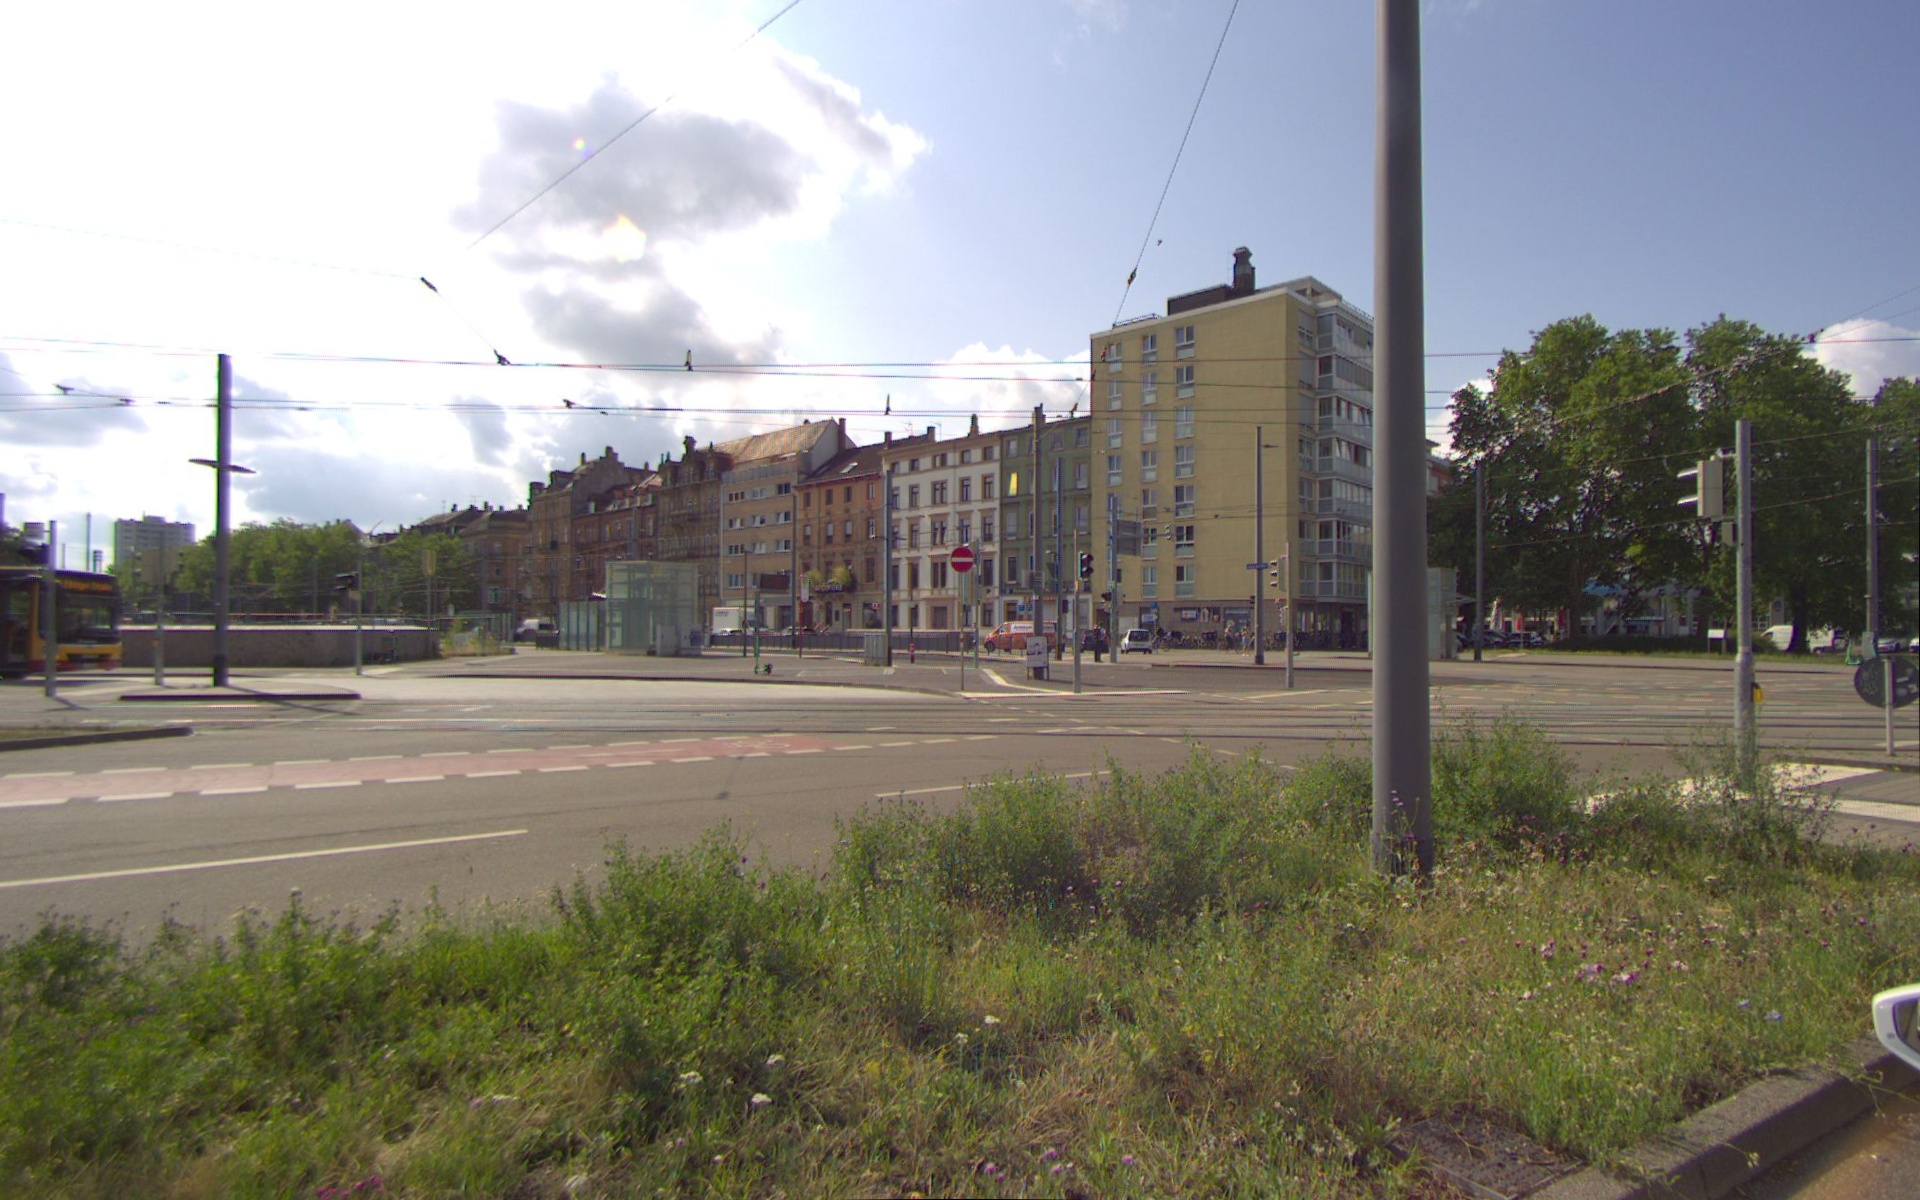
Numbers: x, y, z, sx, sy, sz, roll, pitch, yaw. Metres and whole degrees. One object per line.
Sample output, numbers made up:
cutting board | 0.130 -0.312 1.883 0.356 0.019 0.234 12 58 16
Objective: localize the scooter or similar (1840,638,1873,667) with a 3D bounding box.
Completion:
scooter or similar | 39.455 2.298 44.208 0.911 1.173 0.381 4 4 16

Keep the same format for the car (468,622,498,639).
car | -53.332 3.392 112.373 3.946 1.684 1.765 1 0 45

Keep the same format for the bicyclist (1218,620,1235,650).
bicyclist | 16.282 2.138 61.384 0.816 1.768 0.708 -1 -2 43

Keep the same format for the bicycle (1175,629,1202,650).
bicycle | 15.351 2.642 67.624 1.623 1.217 0.546 6 0 45

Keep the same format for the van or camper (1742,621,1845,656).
van or camper | 65.972 3.047 79.637 2.361 2.502 5.858 2 0 -25

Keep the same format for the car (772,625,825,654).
car | -12.337 2.963 76.431 3.945 2.040 1.988 1 0 44

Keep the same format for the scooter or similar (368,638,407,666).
scooter or similar | -20.563 1.858 36.105 0.464 0.962 1.663 0 -1 -1

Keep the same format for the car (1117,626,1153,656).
car | 10.661 2.470 61.388 1.685 1.460 3.512 4 2 3

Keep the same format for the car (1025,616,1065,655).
car | 5.560 2.300 66.417 2.039 2.113 4.897 3 2 -1

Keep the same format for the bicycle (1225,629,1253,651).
bicycle | 18.238 2.597 65.675 1.623 1.288 0.485 6 0 45

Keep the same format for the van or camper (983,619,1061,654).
van or camper | 3.756 2.214 61.337 4.454 1.940 2.006 1 0 40

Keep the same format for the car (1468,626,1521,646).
car | 44.244 2.941 83.138 1.654 1.615 3.573 1 -2 -43

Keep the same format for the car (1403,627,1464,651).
car | 33.935 2.802 72.064 3.524 1.550 1.989 1 0 43

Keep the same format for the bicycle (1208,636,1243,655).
bicycle | 16.205 2.761 61.402 1.964 1.142 0.785 -1 -2 42

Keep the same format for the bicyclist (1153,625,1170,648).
bicyclist | 13.250 2.416 66.028 0.821 1.517 0.785 -1 -2 42

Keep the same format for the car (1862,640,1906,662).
car | 73.997 4.046 80.397 3.965 1.595 1.978 2 0 -38

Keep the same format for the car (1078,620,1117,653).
car | 8.587 2.267 63.101 1.853 1.488 5.063 3 4 2

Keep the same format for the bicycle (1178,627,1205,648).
bicycle | 15.688 2.539 68.083 1.623 1.217 0.485 6 0 45

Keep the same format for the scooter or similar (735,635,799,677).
scooter or similar | -5.913 1.695 30.801 1.330 1.205 1.475 2 0 -44

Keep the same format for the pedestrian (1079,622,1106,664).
pedestrian | 5.766 1.874 43.674 0.783 1.696 0.840 6 6 42

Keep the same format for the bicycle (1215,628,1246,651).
bicycle | 17.640 2.578 65.489 1.859 1.289 0.486 6 5 36

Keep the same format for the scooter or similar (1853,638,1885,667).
scooter or similar | 39.468 2.295 43.614 0.911 1.173 0.381 3 4 5

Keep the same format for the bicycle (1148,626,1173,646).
bicycle | 13.808 2.478 69.234 1.623 1.217 0.485 6 0 45

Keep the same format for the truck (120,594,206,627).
truck | -93.074 1.292 117.408 2.432 3.696 7.421 -1 -2 37

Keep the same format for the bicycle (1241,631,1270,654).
bicycle | 18.950 2.704 64.342 1.623 1.288 0.528 6 0 45

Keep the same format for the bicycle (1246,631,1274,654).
bicycle | 19.318 2.717 64.731 1.623 1.288 0.485 6 0 45

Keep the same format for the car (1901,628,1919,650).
car | 75.050 3.025 78.052 3.959 1.625 2.055 1 -2 -34

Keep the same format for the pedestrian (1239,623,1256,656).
pedestrian | 15.853 2.193 55.418 0.770 1.783 0.995 3 -1 21

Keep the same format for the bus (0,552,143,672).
bus | -25.339 0.304 25.364 6.964 2.871 2.699 0 -1 -4

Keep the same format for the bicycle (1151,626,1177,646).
bicycle | 14.141 2.477 69.651 1.623 1.217 0.485 6 0 45

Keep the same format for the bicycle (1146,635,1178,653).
bicycle | 13.257 2.896 65.995 1.964 1.142 0.785 -1 -2 42

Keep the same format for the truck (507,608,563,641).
truck | -46.843 2.679 110.568 7.197 3.330 3.160 2 1 45

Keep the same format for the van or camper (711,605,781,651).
van or camper | -19.823 2.501 92.732 2.703 3.376 7.536 -1 6 -45
